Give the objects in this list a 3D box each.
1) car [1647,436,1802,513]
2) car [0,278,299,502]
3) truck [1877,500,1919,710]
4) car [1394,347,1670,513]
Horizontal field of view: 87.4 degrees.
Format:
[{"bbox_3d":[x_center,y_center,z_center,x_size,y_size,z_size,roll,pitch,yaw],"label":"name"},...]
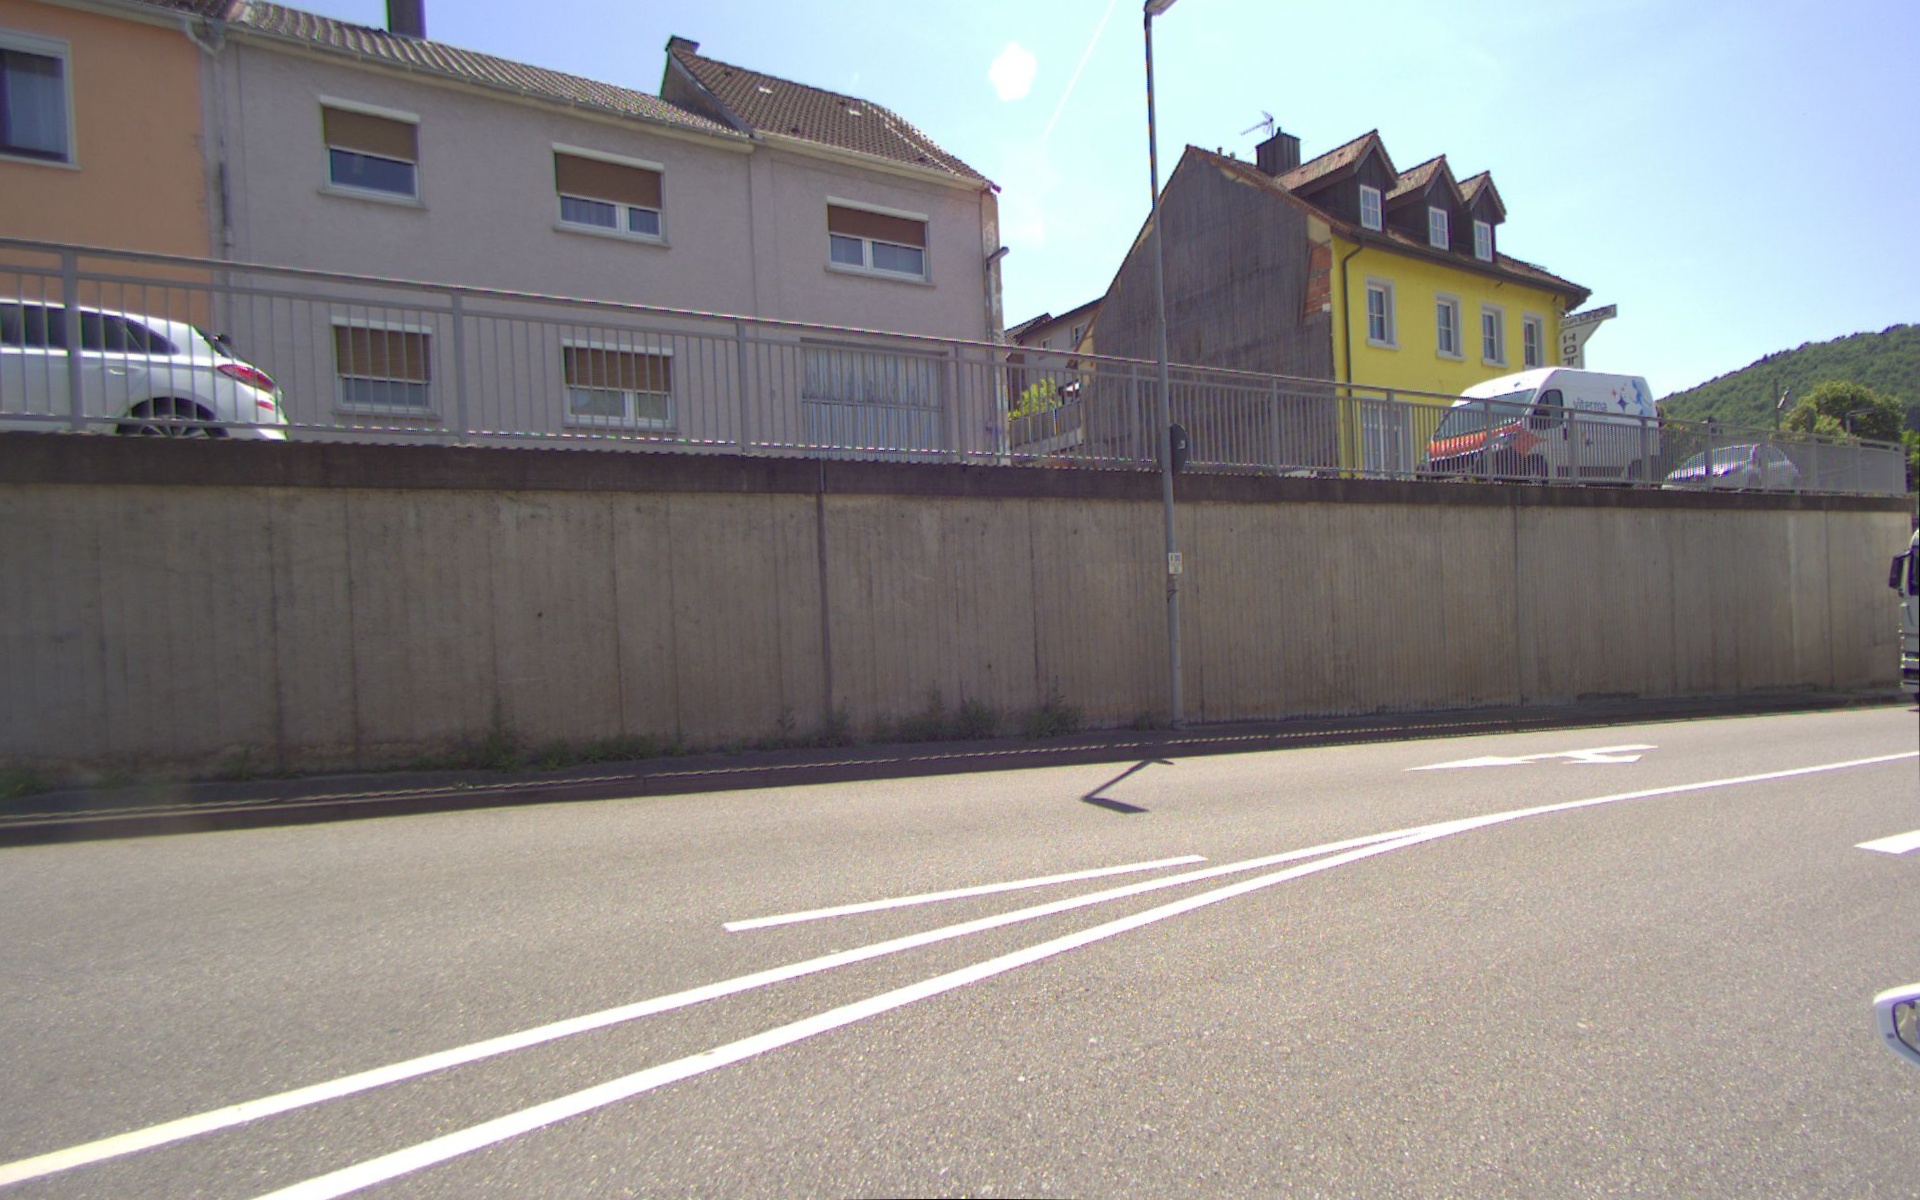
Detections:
[{"bbox_3d":[18.114,-2.907,23.775,3.998,1.521,1.610,-2,2,-32],"label":"car"},{"bbox_3d":[-7.867,-1.629,8.017,4.264,1.482,1.802,-3,2,-34],"label":"car"},{"bbox_3d":[21.092,0.165,19.797,6.502,3.911,2.649,2,-1,-30],"label":"truck"},{"bbox_3d":[10.949,-3.029,19.088,5.594,2.571,2.055,-2,2,-30],"label":"car"}]
